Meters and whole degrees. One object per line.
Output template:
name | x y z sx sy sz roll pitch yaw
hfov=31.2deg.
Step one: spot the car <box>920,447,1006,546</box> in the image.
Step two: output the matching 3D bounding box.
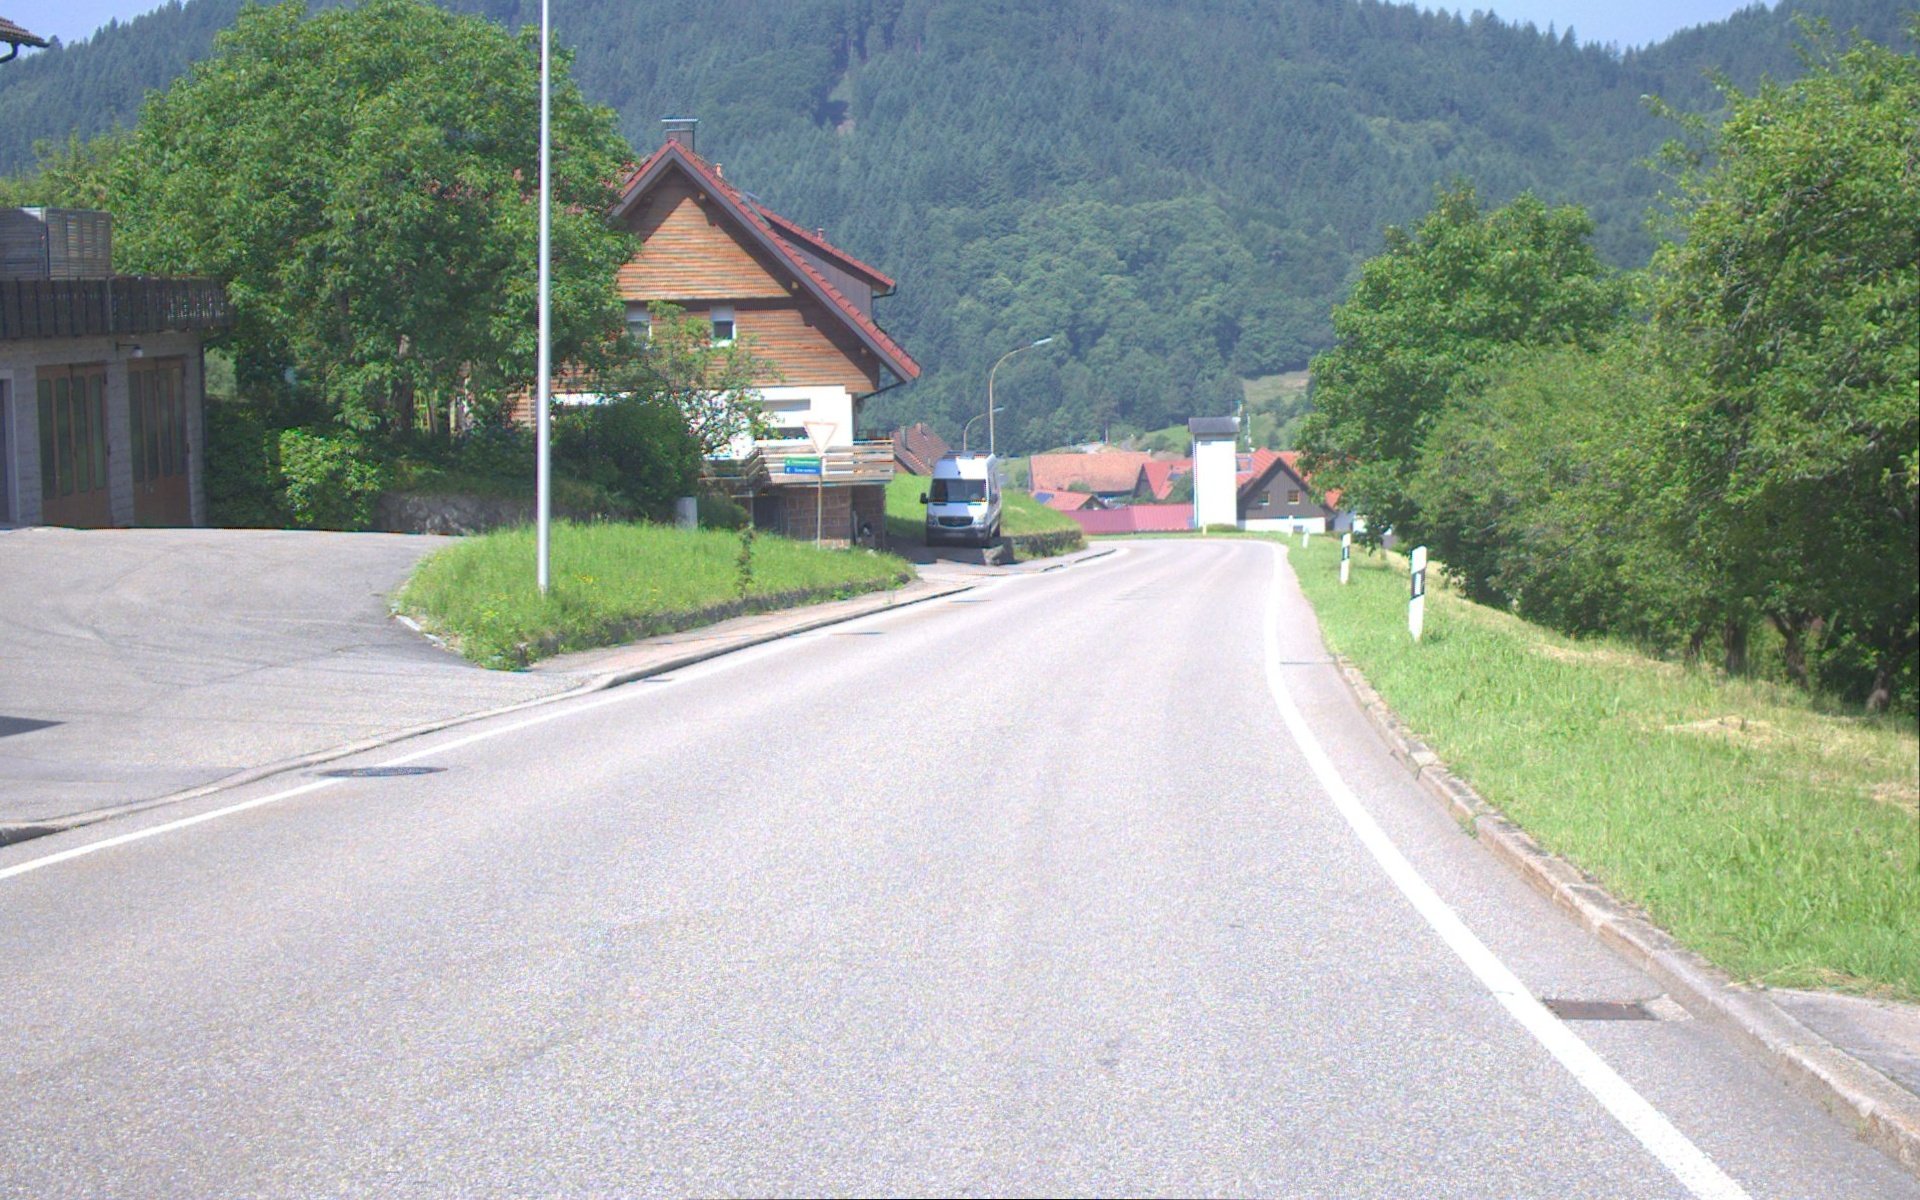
car | 0.143 -3.266 107.180 2.068 2.679 7.174 -1 5 5
